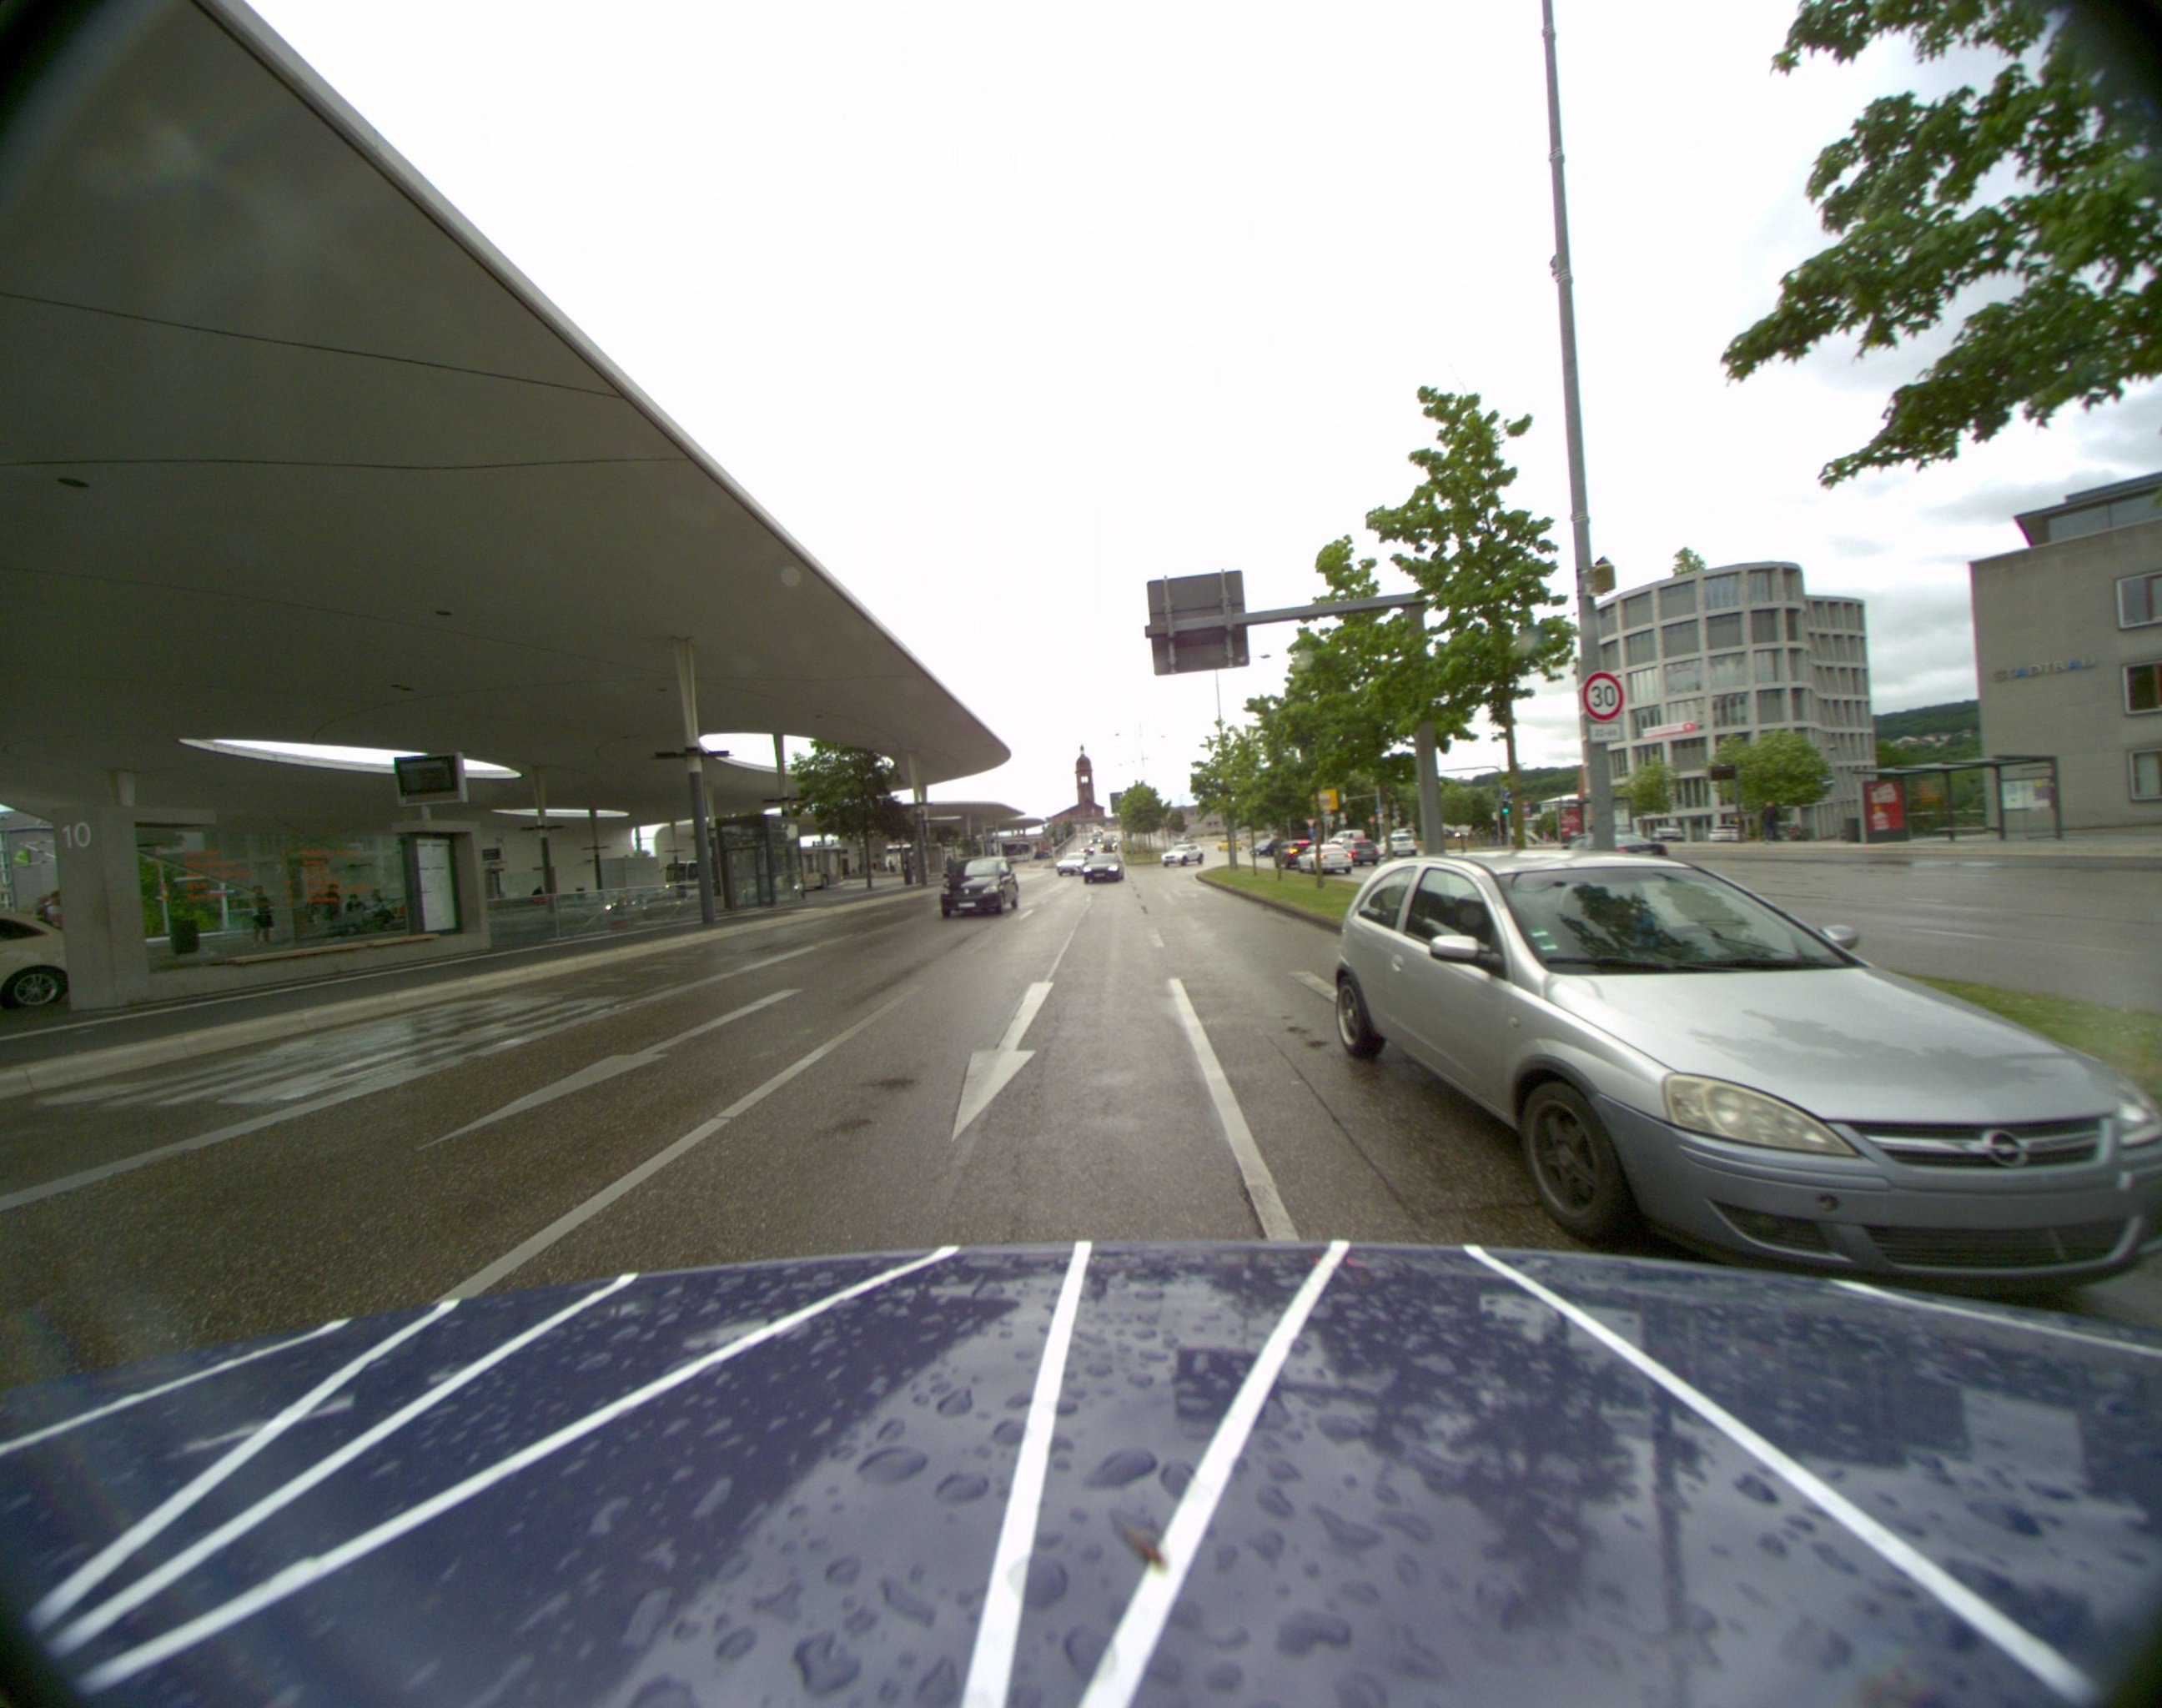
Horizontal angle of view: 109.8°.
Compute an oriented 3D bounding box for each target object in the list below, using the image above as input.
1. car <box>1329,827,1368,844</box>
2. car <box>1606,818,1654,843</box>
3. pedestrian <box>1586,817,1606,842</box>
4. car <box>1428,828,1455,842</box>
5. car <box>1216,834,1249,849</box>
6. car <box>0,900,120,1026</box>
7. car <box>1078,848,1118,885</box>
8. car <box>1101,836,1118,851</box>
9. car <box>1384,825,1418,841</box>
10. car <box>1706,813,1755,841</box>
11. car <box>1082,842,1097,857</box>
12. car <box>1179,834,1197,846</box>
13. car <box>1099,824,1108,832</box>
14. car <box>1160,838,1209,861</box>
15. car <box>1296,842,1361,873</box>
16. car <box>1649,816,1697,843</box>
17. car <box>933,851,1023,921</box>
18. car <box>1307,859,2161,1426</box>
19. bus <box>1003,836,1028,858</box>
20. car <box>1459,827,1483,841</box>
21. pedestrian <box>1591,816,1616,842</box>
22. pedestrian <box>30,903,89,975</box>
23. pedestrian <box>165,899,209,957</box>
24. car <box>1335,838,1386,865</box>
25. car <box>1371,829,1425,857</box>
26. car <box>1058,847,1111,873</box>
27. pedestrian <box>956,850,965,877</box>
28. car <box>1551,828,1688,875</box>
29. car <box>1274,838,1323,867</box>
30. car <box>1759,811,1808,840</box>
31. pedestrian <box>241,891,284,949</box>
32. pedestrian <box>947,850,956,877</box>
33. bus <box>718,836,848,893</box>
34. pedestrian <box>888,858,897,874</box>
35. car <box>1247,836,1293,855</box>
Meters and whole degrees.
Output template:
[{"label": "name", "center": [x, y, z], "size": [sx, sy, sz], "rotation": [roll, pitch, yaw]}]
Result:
[{"label": "car", "center": [27.722, -1.947, 78.794], "size": [4.164, 1.625, 1.872], "rotation": [-3, 1, -39]}, {"label": "car", "center": [39.403, -1.694, 54.505], "size": [4.165, 1.692, 1.872], "rotation": [-3, 2, -42]}, {"label": "pedestrian", "center": [30.848, -1.461, 45.546], "size": [0.732, 1.481, 0.735], "rotation": [-2, 1, 11]}, {"label": "car", "center": [45.148, -2.411, 95.057], "size": [1.872, 1.624, 4.165], "rotation": [-2, 1, 43]}, {"label": "car", "center": [18.691, -1.539, 93.758], "size": [1.879, 1.624, 4.149], "rotation": [-3, 1, -25]}, {"label": "car", "center": [-16.262, 1.634, 9.709], "size": [1.998, 1.671, 4.542], "rotation": [-2, 1, 3]}, {"label": "car", "center": [0.879, 0.568, 38.947], "size": [1.875, 1.692, 4.157], "rotation": [-2, 1, 1]}, {"label": "car", "center": [4.018, -1.495, 105.885], "size": [1.999, 2.002, 3.998], "rotation": [-2, 1, -2]}, {"label": "car", "center": [36.764, -2.429, 87.183], "size": [4.293, 1.625, 1.872], "rotation": [-3, 2, -41]}, {"label": "car", "center": [43.055, -1.778, 50.315], "size": [4.165, 1.692, 1.872], "rotation": [-3, 1, -42]}, {"label": "car", "center": [1.172, -0.607, 103.347], "size": [1.998, 2.002, 3.999], "rotation": [-2, 1, 1]}, {"label": "car", "center": [15.908, -2.126, 113.407], "size": [1.876, 1.624, 4.156], "rotation": [-3, 1, -3]}, {"label": "car", "center": [5.202, -5.966, 174.133], "size": [1.649, 1.552, 3.648], "rotation": [-2, 1, -2]}, {"label": "car", "center": [8.348, -0.364, 60.984], "size": [1.872, 1.625, 4.309], "rotation": [-1, 1, 39]}, {"label": "car", "center": [12.162, 0.121, 37.615], "size": [2.009, 1.345, 4.165], "rotation": [-2, 1, 3]}, {"label": "car", "center": [41.005, -1.723, 52.575], "size": [4.165, 1.692, 1.872], "rotation": [-3, 2, -42]}, {"label": "car", "center": [-2.775, 0.793, 21.319], "size": [1.875, 1.692, 4.157], "rotation": [-2, 0, 0]}, {"label": "car", "center": [2.550, 0.830, 3.970], "size": [1.698, 1.457, 3.720], "rotation": [-2, 1, 2]}, {"label": "bus", "center": [-10.268, -1.036, 119.331], "size": [3.584, 3.080, 10.748], "rotation": [-3, 1, -5]}, {"label": "car", "center": [54.284, -2.794, 105.722], "size": [1.889, 1.704, 4.225], "rotation": [-1, 2, 44]}, {"label": "pedestrian", "center": [30.659, -1.437, 44.559], "size": [0.983, 1.481, 0.735], "rotation": [-2, 1, 13]}, {"label": "pedestrian", "center": [-22.264, 1.845, 16.570], "size": [0.478, 1.505, 0.535], "rotation": [-3, 1, 7]}, {"label": "pedestrian", "center": [-24.549, 2.029, 20.863], "size": [0.478, 1.505, 0.525], "rotation": [-3, 1, 7]}, {"label": "car", "center": [16.460, -0.173, 44.944], "size": [1.698, 1.457, 4.453], "rotation": [-2, 1, 6]}, {"label": "car", "center": [19.894, -0.683, 47.851], "size": [1.960, 1.609, 4.209], "rotation": [-2, 1, 5]}, {"label": "car", "center": [0.258, 0.401, 52.584], "size": [1.807, 1.550, 4.056], "rotation": [-1, 1, 31]}, {"label": "pedestrian", "center": [-7.962, 0.648, 50.139], "size": [0.446, 1.754, 0.537], "rotation": [-3, 1, -9]}, {"label": "car", "center": [18.237, -0.113, 25.982], "size": [1.960, 1.414, 4.000], "rotation": [-2, 1, 3]}, {"label": "car", "center": [12.717, -0.109, 44.725], "size": [2.009, 1.545, 4.165], "rotation": [-2, 1, 6]}, {"label": "car", "center": [44.973, -1.831, 48.634], "size": [4.165, 1.692, 1.872], "rotation": [-3, 2, -42]}, {"label": "pedestrian", "center": [-22.084, 1.773, 20.510], "size": [0.478, 1.505, 0.535], "rotation": [-3, 1, 7]}, {"label": "pedestrian", "center": [-8.522, 0.632, 50.055], "size": [0.445, 1.754, 0.537], "rotation": [-3, 1, -3]}, {"label": "bus", "center": [-18.552, 0.629, 48.558], "size": [2.876, 3.064, 11.925], "rotation": [-2, 0, 3]}, {"label": "pedestrian", "center": [-24.922, 1.541, 100.448], "size": [1.026, 2.002, 0.879], "rotation": [-3, 2, -17]}, {"label": "car", "center": [17.220, -0.783, 69.120], "size": [4.165, 1.625, 1.872], "rotation": [-3, 2, -40]}]
